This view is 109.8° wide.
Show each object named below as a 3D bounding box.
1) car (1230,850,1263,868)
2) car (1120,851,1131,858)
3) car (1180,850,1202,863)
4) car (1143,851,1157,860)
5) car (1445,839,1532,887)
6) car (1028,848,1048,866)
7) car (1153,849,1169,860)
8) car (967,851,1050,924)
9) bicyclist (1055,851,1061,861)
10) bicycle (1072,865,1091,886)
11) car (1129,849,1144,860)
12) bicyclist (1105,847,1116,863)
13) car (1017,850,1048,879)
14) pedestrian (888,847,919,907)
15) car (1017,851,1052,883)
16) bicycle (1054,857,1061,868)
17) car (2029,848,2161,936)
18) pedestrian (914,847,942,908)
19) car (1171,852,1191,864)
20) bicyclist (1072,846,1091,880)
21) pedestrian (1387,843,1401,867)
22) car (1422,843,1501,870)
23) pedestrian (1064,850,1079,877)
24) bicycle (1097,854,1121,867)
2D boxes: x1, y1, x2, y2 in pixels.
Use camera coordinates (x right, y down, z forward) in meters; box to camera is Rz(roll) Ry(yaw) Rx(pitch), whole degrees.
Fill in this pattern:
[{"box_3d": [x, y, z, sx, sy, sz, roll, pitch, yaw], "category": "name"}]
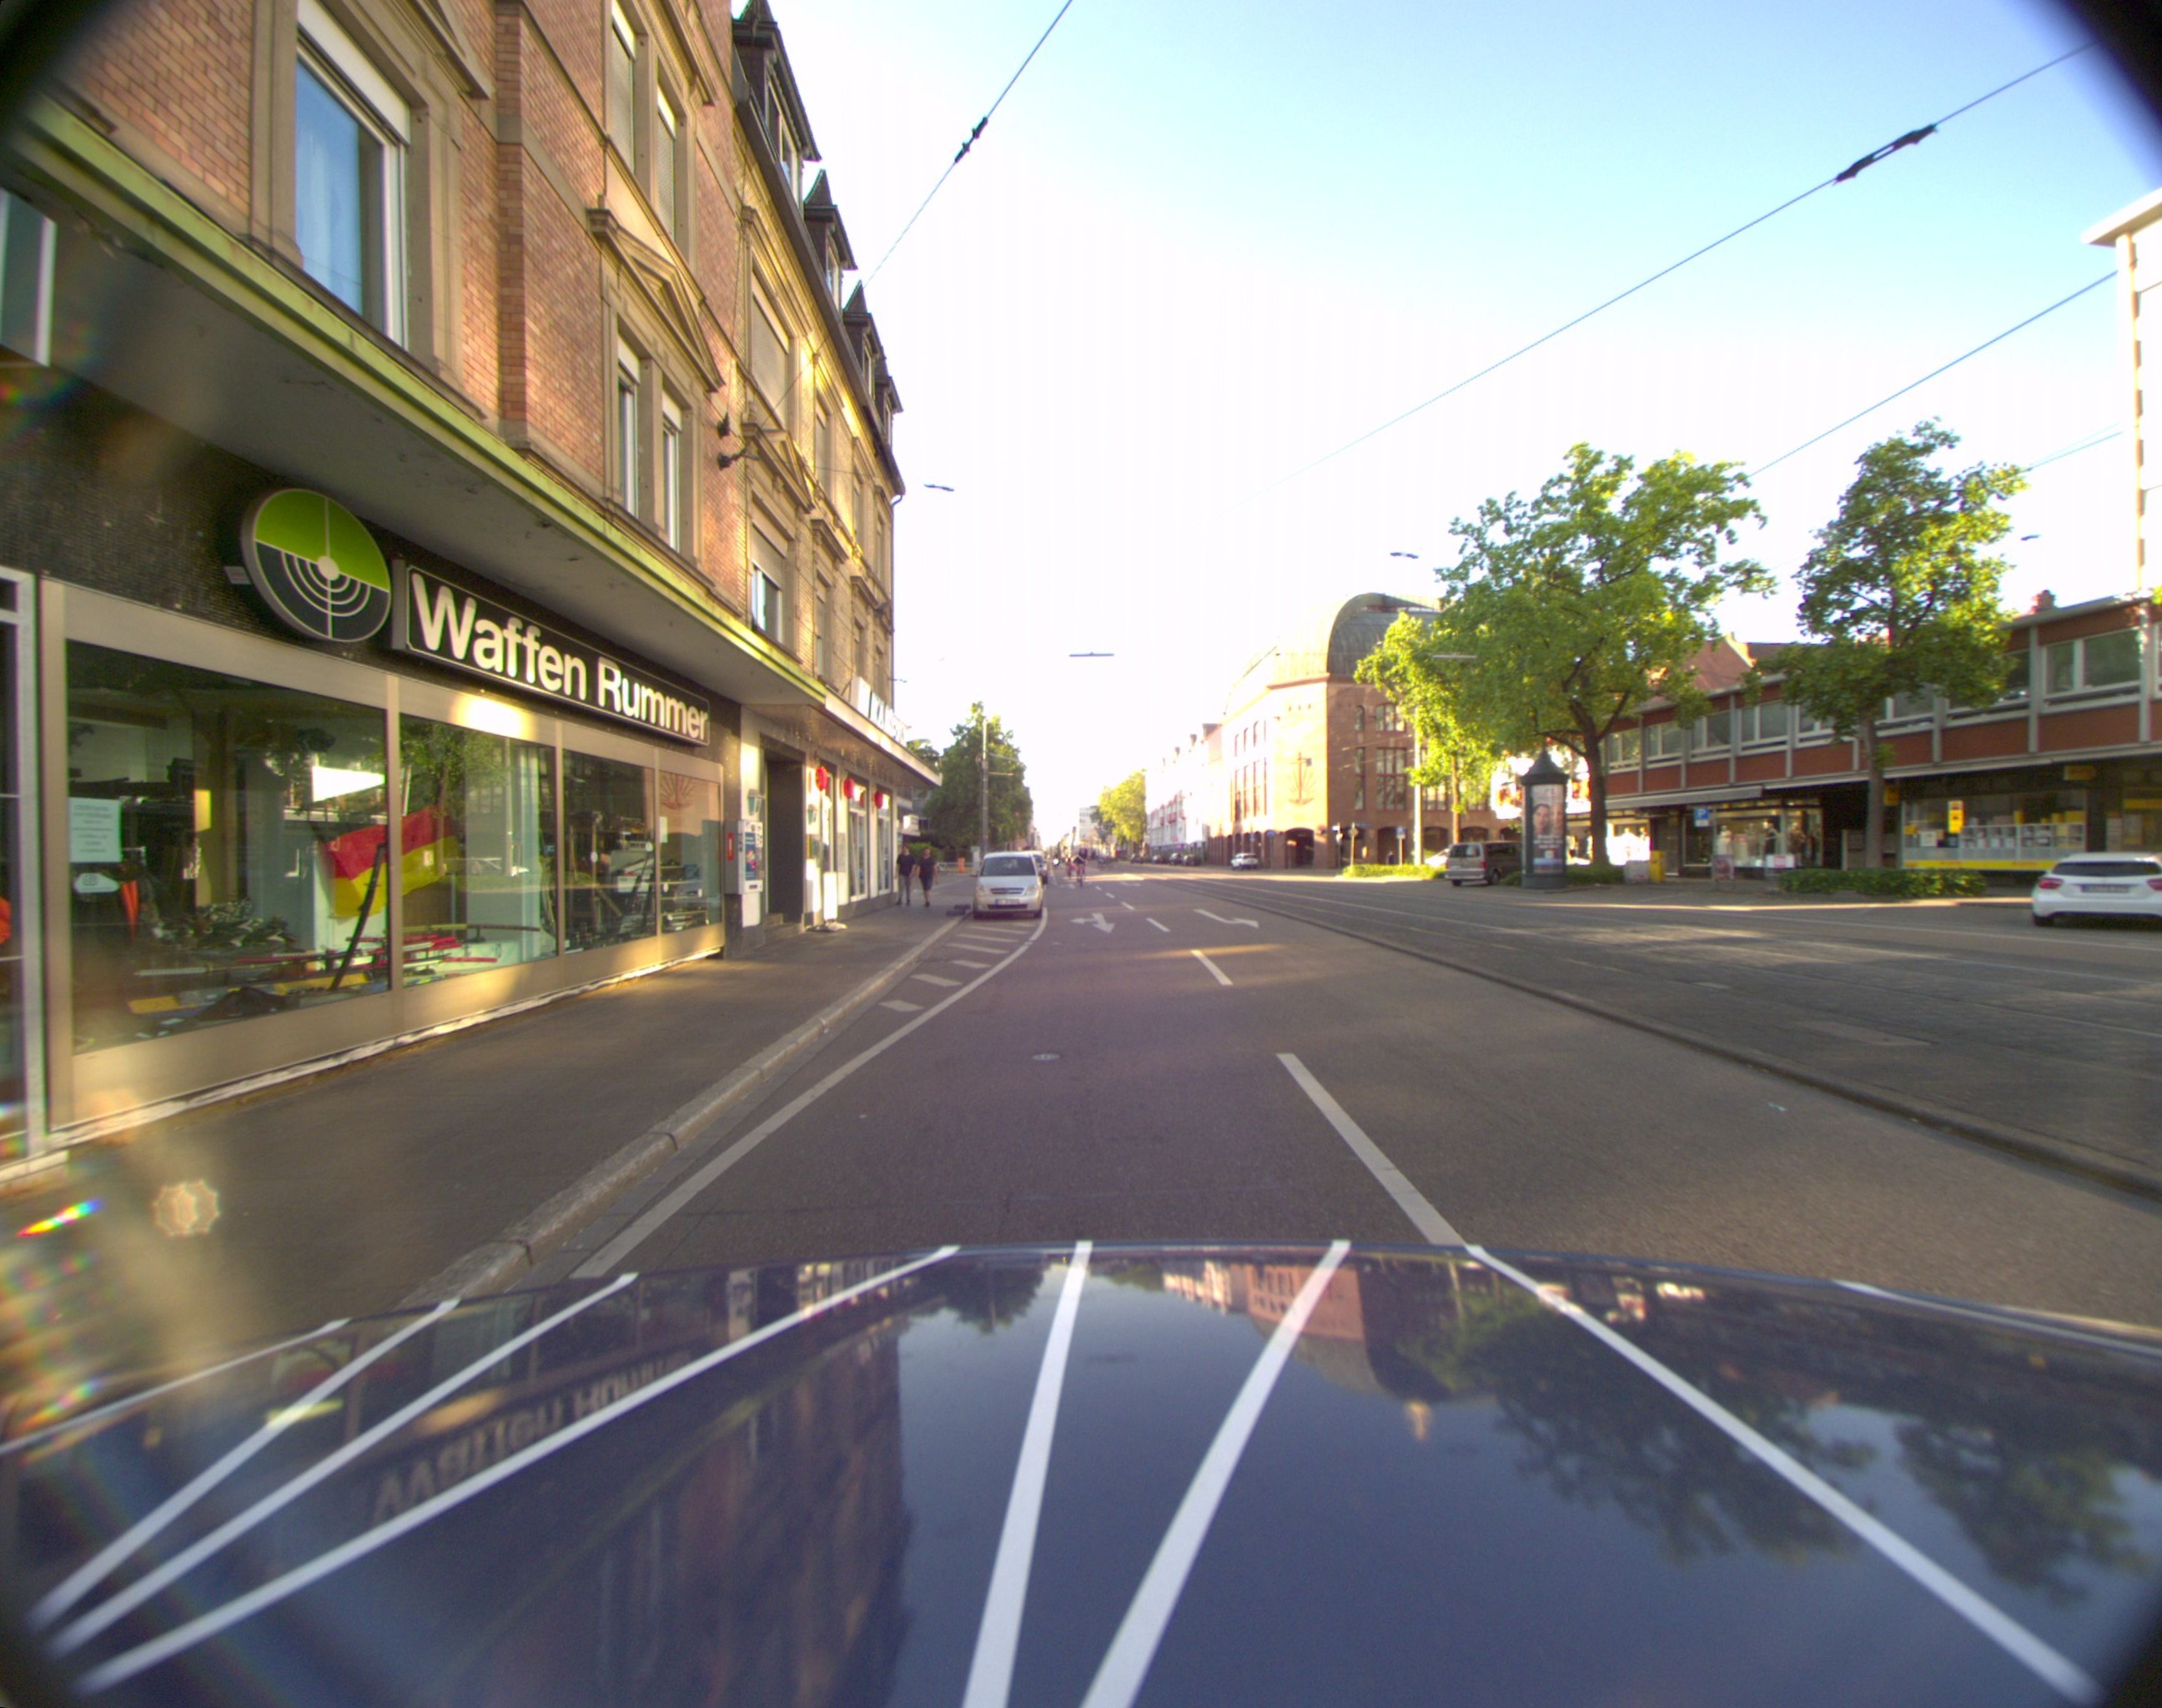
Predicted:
[{"box_3d": [15.576, 0.461, 71.723, 1.911, 1.594, 3.998, -2, 1, -4], "category": "car"}, {"box_3d": [10.181, 0.151, 173.569, 1.965, 1.594, 3.998, -2, 1, -4], "category": "car"}, {"box_3d": [14.288, 0.303, 98.670, 1.965, 1.594, 3.998, -2, 1, -4], "category": "car"}, {"box_3d": [12.697, 0.227, 139.984, 1.965, 1.594, 3.998, -2, 1, -4], "category": "car"}, {"box_3d": [18.154, 0.343, 33.789, 4.007, 1.953, 1.906, -2, 1, -37], "category": "car"}, {"box_3d": [-3.988, 0.253, 71.095, 1.671, 1.674, 3.999, -1, 0, -1], "category": "car"}, {"box_3d": [13.078, 0.059, 124.196, 1.965, 1.594, 3.998, -2, 1, -4], "category": "car"}, {"box_3d": [-1.754, 0.769, 19.527, 1.671, 1.674, 4.000, -1, 0, 1], "category": "car"}, {"box_3d": [-2.492, 0.218, 82.760, 0.646, 1.176, 0.722, 0, 1, -5], "category": "bicyclist"}, {"box_3d": [0.033, 1.017, 36.404, 0.886, 0.949, 1.765, 0, 0, 1], "category": "bicycle"}, {"box_3d": [8.972, 0.081, 123.065, 1.965, 1.594, 3.998, -2, 1, -4], "category": "car"}, {"box_3d": [2.592, 0.126, 67.506, 0.762, 1.414, 0.674, 0, 1, 31], "category": "bicyclist"}, {"box_3d": [-2.980, 0.604, 46.892, 1.671, 1.674, 3.999, -1, 0, -1], "category": "car"}, {"box_3d": [-5.132, 0.648, 22.006, 0.701, 1.713, 0.681, 1, 1, -1], "category": "pedestrian"}, {"box_3d": [-2.500, 0.671, 41.475, 1.671, 1.674, 3.999, -1, 0, -1], "category": "car"}, {"box_3d": [-2.546, 0.928, 82.731, 0.646, 1.176, 1.803, 0, 0, -5], "category": "bicycle"}, {"box_3d": [20.573, 0.668, 15.126, 4.006, 1.466, 1.793, -2, 1, -34], "category": "car"}, {"box_3d": [-4.401, 0.671, 21.864, 0.701, 1.713, 0.502, 1, 1, -1], "category": "pedestrian"}, {"box_3d": [13.788, 0.520, 105.180, 1.965, 1.594, 3.998, -2, 1, -4], "category": "car"}, {"box_3d": [0.031, 0.425, 36.403, 0.886, 1.650, 0.803, 0, 1, 1], "category": "bicyclist"}, {"box_3d": [23.217, 0.088, 56.412, 0.790, 1.737, 0.548, 0, 1, 1], "category": "pedestrian"}, {"box_3d": [28.572, 0.172, 57.110, 4.985, 2.002, 1.999, 0, 1, -4], "category": "car"}, {"box_3d": [-0.588, 0.597, 46.631, 0.849, 1.652, 0.850, 0, 1, 1], "category": "pedestrian"}, {"box_3d": [2.478, 0.592, 67.587, 2.033, 1.085, 0.674, 0, 1, 31], "category": "bicycle"}]
